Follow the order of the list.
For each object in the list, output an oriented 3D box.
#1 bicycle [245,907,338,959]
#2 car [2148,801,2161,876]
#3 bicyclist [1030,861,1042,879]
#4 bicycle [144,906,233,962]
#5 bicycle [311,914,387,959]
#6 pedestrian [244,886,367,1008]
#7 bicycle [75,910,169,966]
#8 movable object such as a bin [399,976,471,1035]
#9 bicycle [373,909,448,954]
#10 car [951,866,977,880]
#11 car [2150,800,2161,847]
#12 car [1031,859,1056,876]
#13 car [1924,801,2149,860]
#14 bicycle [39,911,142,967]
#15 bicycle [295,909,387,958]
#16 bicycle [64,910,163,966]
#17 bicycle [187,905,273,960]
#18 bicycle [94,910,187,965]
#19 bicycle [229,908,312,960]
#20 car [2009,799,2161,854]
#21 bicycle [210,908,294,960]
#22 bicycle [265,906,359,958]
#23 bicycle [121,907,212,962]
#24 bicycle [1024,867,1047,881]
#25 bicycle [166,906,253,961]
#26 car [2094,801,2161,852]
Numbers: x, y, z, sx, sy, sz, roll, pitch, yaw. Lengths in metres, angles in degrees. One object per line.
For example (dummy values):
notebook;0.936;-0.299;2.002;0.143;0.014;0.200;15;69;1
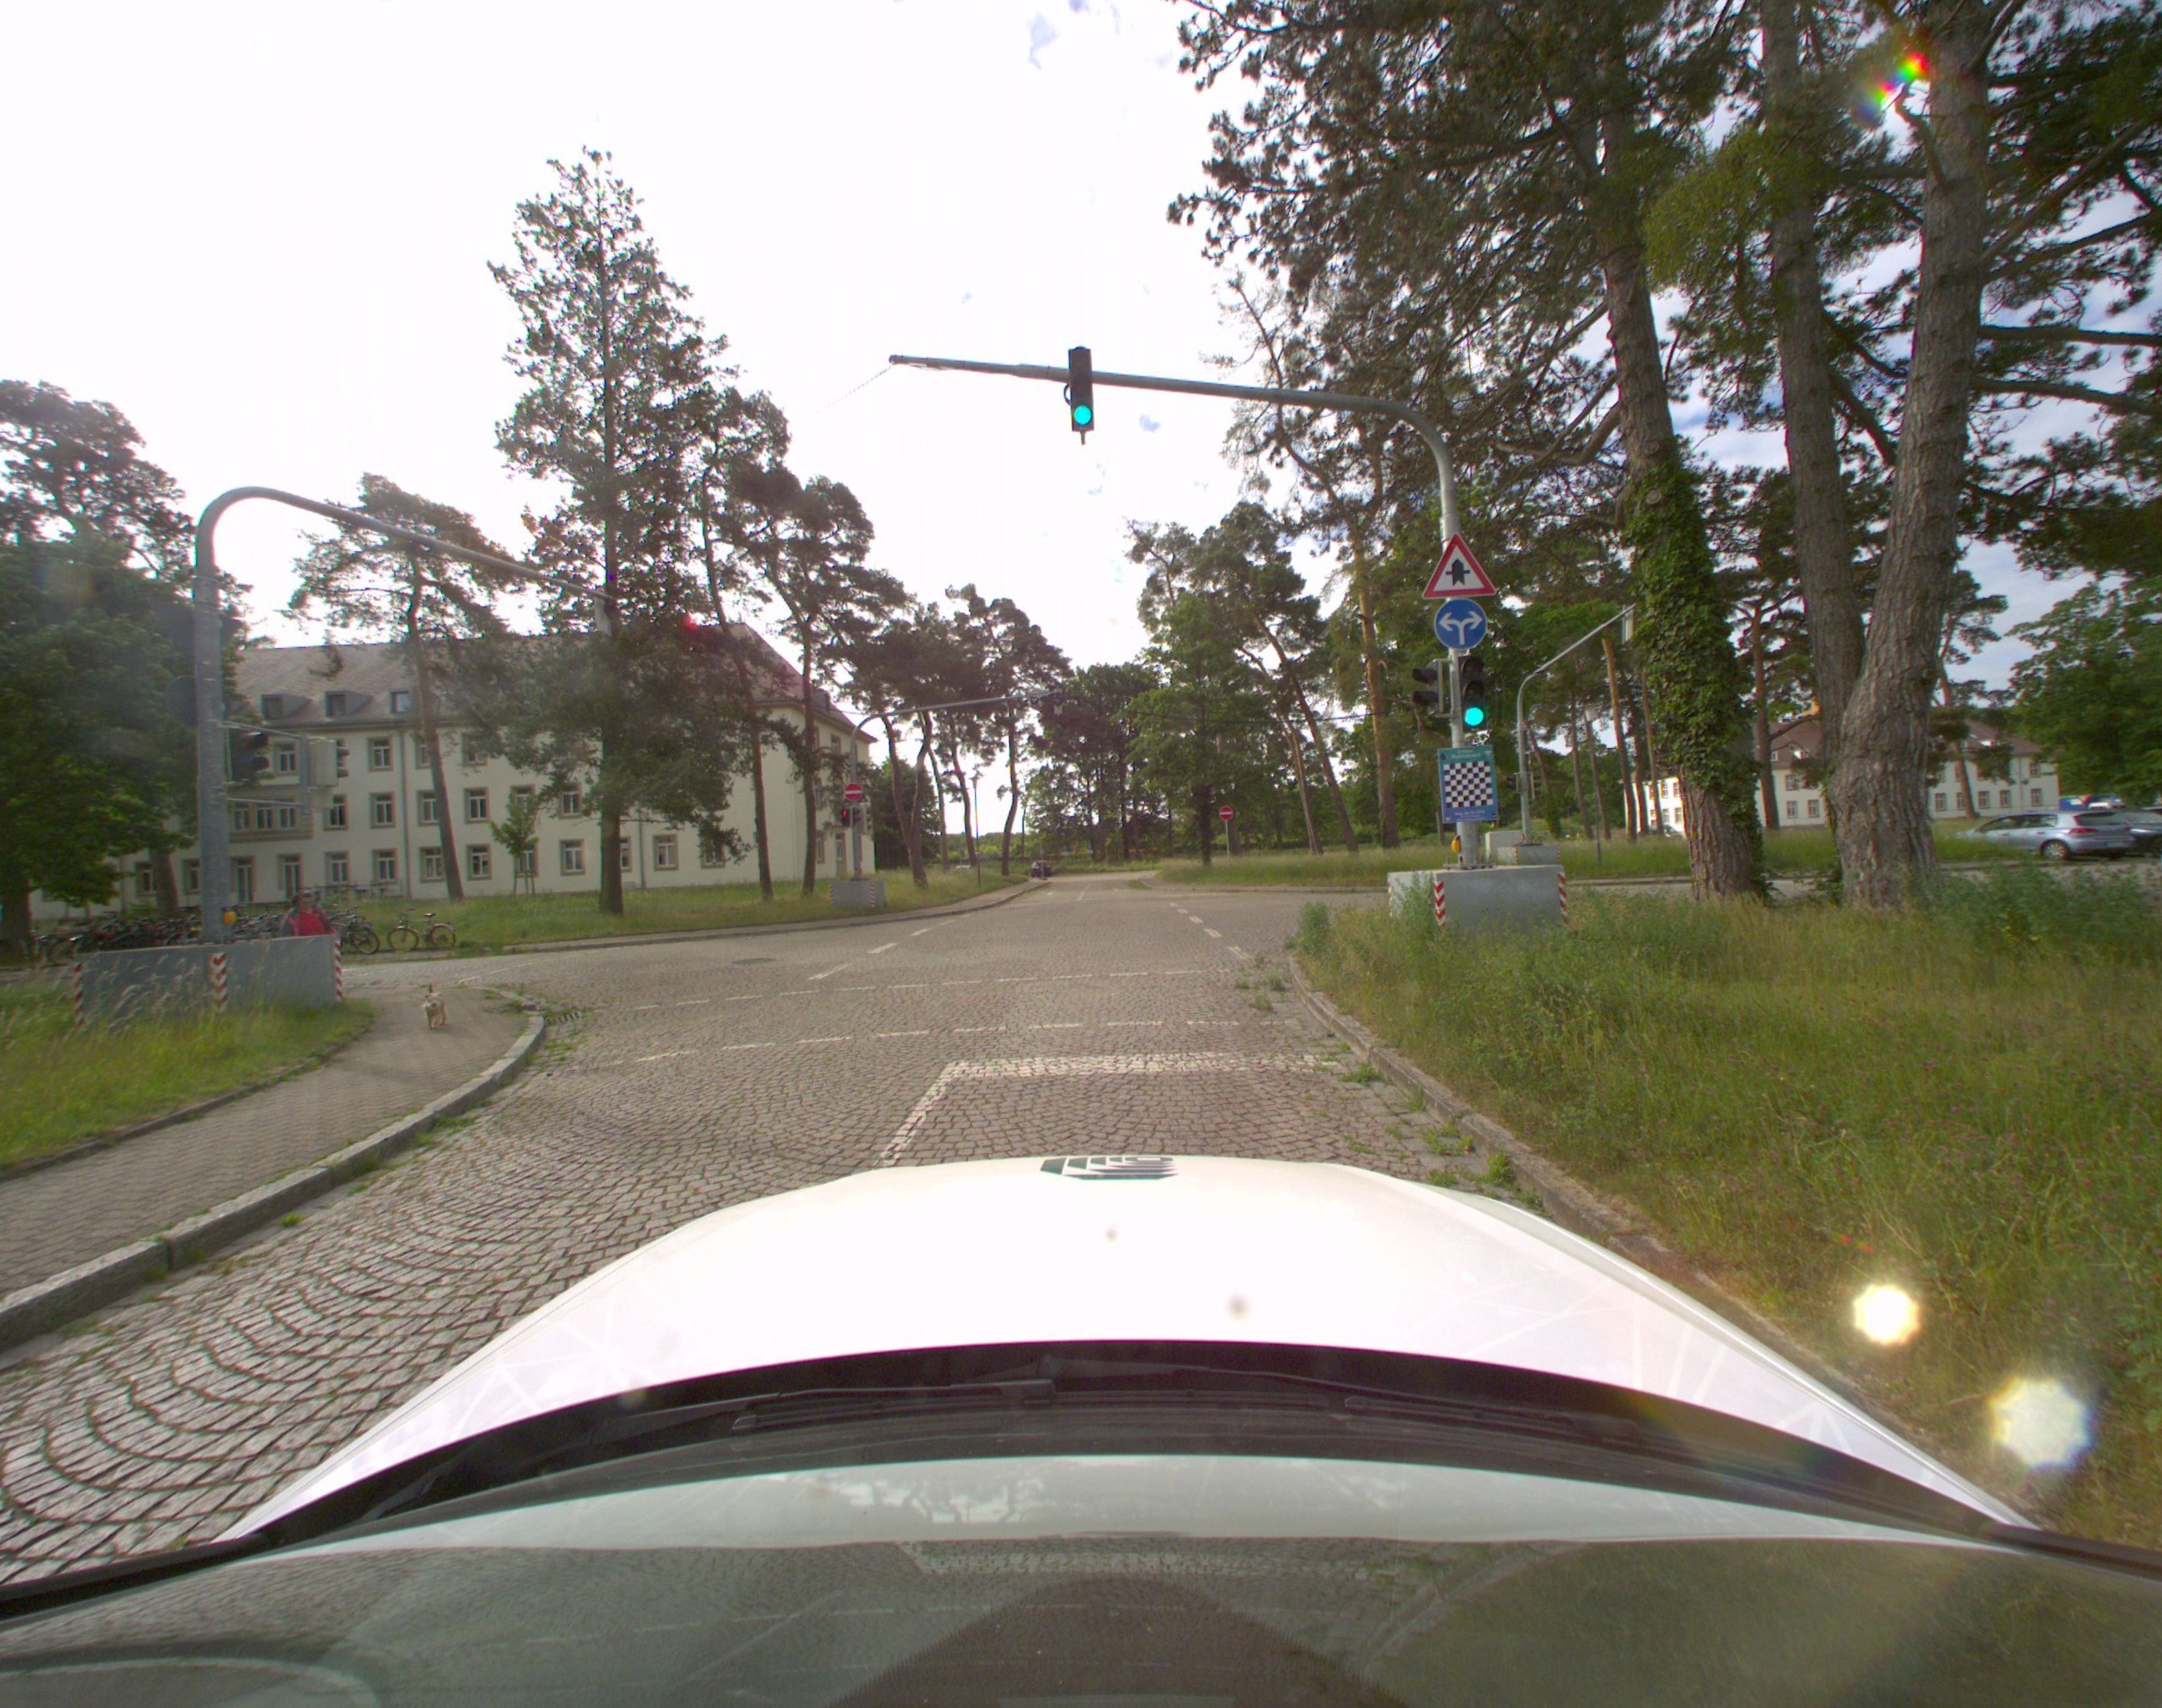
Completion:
bicycle;-20.986;2.071;21.707;0.525;1.178;1.930;-3;0;0
car;21.372;-0.367;13.384;1.748;1.415;4.444;-3;-1;-2
bicyclist;-3.876;1.380;70.292;0.972;1.510;0.807;-3;0;-2
bicycle;-23.717;2.101;21.680;0.447;1.283;1.695;-3;0;0
bicycle;-18.207;2.038;20.263;1.453;0.996;0.452;-3;0;2
pedestrian;-11.495;1.356;12.097;0.853;1.668;0.943;-3;0;14
bicycle;-25.430;2.206;21.635;0.447;1.283;1.695;-3;0;0
movable object such as a bin;-7.217;1.680;9.119;0.445;0.503;0.746;-3;0;-25
bicycle;-16.685;1.923;20.270;1.453;0.996;0.452;-3;0;2
car;-11.232;1.816;78.693;1.682;1.156;4.003;-3;0;3
car;36.545;-1.060;24.909;1.748;1.524;4.445;-3;0;-2
car;-3.527;1.282;77.367;1.985;1.508;4.003;-1;0;3
car;28.917;-0.655;24.915;1.745;1.524;4.451;-3;0;3
bicycle;-26.361;2.236;21.710;0.447;1.283;1.827;-3;0;0
bicycle;-19.705;2.098;21.742;0.573;1.078;1.996;-3;0;0
bicycle;-25.895;2.222;21.838;0.441;1.283;1.785;-3;0;0
bicycle;-22.697;2.071;21.755;0.447;1.283;1.695;-3;0;0
bicycle;-24.943;2.191;21.642;0.447;1.283;1.695;-3;0;0
bicycle;-21.499;2.099;21.656;0.447;1.178;1.695;-3;0;0
car;31.333;-0.817;24.440;1.748;1.524;4.444;-3;0;-2
bicycle;-21.985;2.101;21.640;0.447;1.178;1.695;-3;0;0
bicycle;-20.403;2.053;21.673;0.573;1.178;1.954;-3;0;0
bicycle;-24.280;2.118;21.663;0.447;1.283;1.695;-3;0;0
bicycle;-3.920;1.709;70.274;1.981;1.095;0.809;-3;0;-3
bicycle;-23.202;2.086;21.718;0.447;1.283;1.695;-3;0;0
car;33.985;-0.895;24.358;1.748;1.524;4.445;-3;0;-2
